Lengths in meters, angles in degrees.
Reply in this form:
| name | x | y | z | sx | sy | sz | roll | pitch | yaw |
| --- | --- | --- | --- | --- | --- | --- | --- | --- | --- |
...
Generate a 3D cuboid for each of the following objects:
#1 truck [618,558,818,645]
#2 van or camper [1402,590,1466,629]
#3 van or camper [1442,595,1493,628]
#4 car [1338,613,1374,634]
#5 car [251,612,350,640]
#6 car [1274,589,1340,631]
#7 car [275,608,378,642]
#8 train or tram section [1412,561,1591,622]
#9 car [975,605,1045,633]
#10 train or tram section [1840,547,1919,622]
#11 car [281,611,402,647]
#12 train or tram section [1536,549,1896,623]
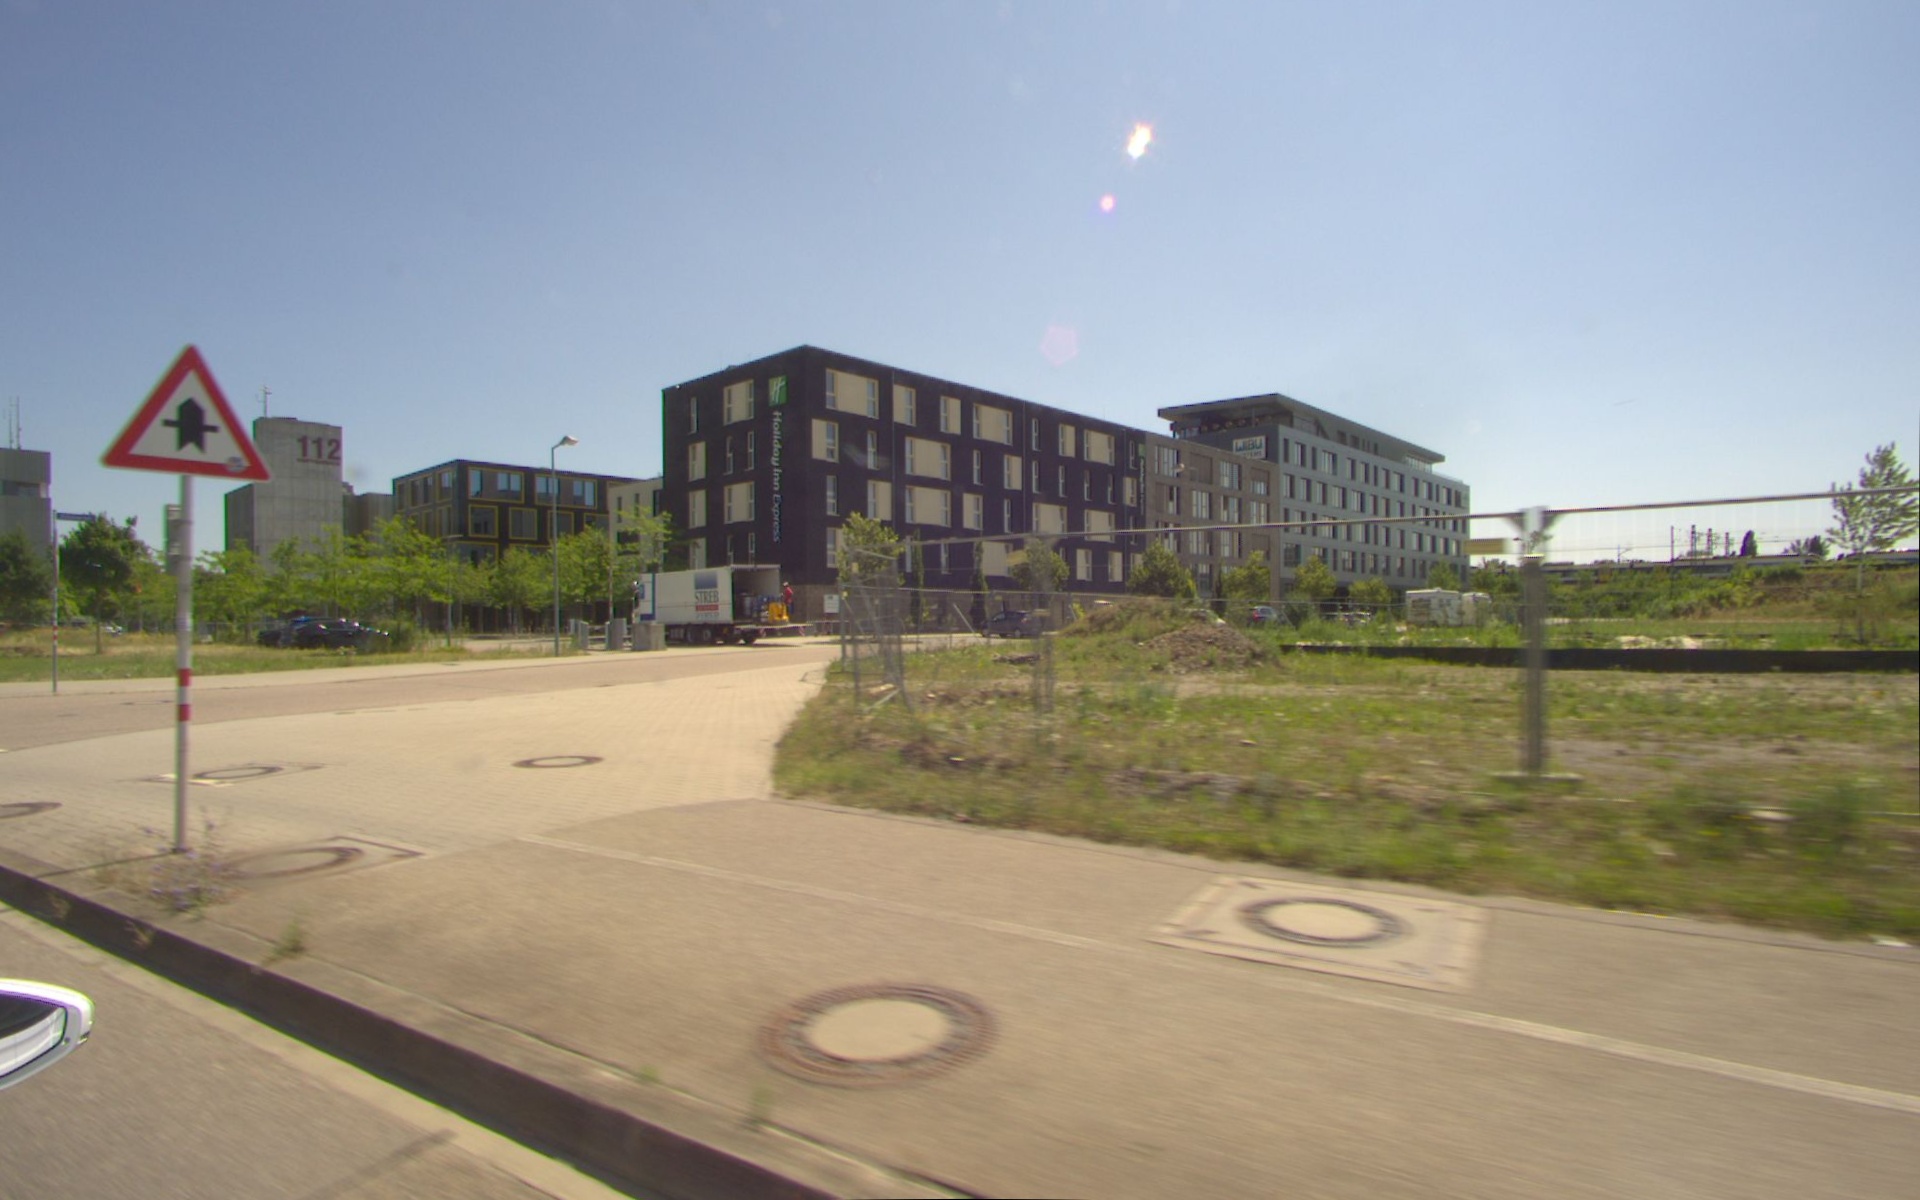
| name | x | y | z | sx | sy | sz | roll | pitch | yaw |
| --- | --- | --- | --- | --- | --- | --- | --- | --- | --- |
| truck | -11.360 | 0.133 | 45.702 | 12.015 | 3.508 | 2.989 | -1 | 1 | 45 |
| van or camper | 35.464 | 0.705 | 74.763 | 2.538 | 2.812 | 6.370 | -1 | -1 | 43 |
| van or camper | 41.080 | 0.944 | 81.004 | 2.377 | 2.568 | 5.392 | -1 | -1 | 42 |
| car | 34.153 | 2.069 | 86.371 | 1.774 | 1.742 | 3.394 | -2 | -3 | 42 |
| car | -35.619 | 1.392 | 54.137 | 1.937 | 1.463 | 4.099 | -1 | -1 | 37 |
| car | 18.256 | 0.556 | 52.644 | 1.861 | 2.039 | 3.883 | -2 | -3 | 43 |
| car | -32.056 | 1.241 | 50.722 | 1.933 | 1.673 | 4.037 | -1 | -1 | 42 |
| train or tram section | 96.805 | -1.227 | 180.100 | 9.497 | 10.055 | 26.768 | 0 | -1 | -41 |
| car | 2.695 | 1.033 | 54.198 | 3.542 | 1.472 | 1.681 | -1 | 0 | 42 |
| train or tram section | 142.247 | -2.168 | 127.637 | 9.499 | 10.055 | 44.385 | 0 | -1 | -41 |
| car | -29.074 | 1.332 | 47.175 | 2.009 | 1.582 | 4.471 | -1 | -1 | 41 |
| train or tram section | 116.417 | -1.640 | 157.447 | 9.499 | 10.055 | 44.384 | 0 | -1 | -41 |
